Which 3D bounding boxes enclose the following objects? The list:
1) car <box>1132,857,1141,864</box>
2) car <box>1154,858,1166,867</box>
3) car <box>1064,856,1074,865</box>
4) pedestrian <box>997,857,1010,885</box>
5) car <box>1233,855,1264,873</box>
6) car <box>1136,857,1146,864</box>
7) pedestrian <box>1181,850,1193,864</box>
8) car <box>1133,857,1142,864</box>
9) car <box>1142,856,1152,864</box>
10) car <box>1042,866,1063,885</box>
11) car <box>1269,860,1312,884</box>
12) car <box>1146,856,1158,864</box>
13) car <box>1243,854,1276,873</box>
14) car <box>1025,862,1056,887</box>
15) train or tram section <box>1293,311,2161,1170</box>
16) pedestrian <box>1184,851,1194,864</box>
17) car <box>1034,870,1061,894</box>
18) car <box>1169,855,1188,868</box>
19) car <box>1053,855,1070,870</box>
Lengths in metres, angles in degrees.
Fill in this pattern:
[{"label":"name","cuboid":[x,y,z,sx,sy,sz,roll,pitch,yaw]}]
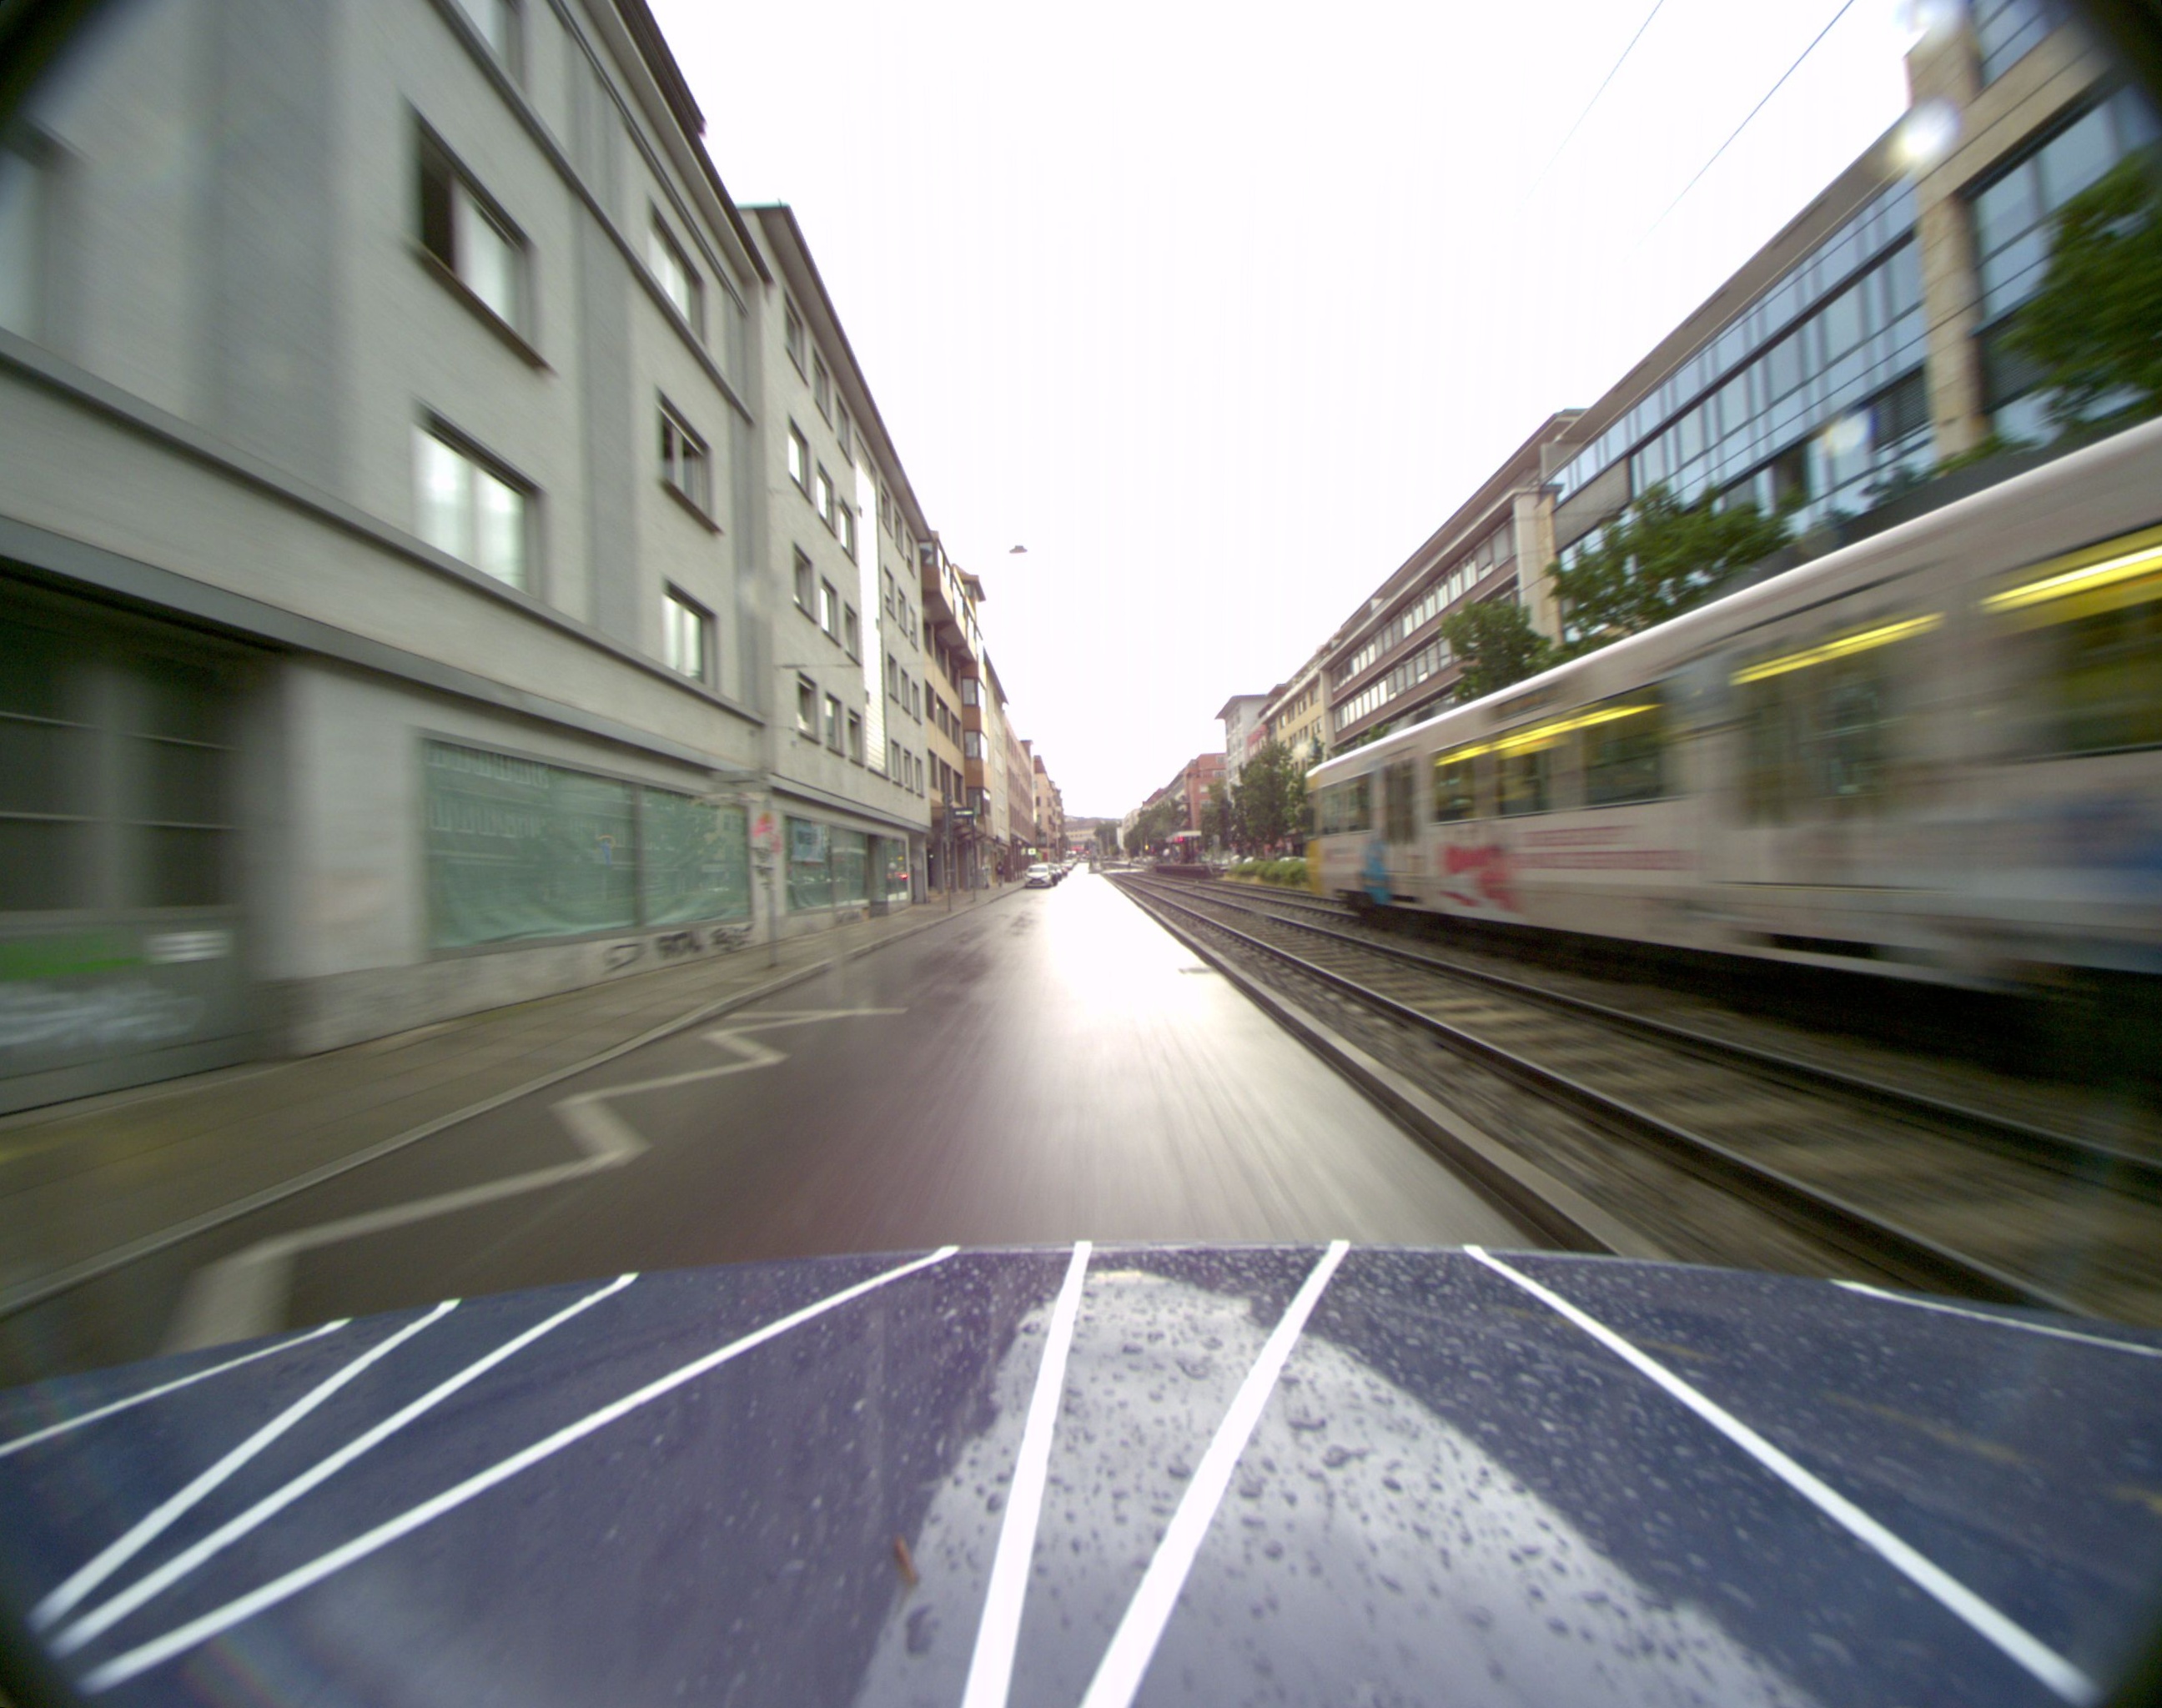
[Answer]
[{"label":"car","cuboid":[14.971,1.843,204.175,1.999,1.778,4.000,-2,0,-1]},{"label":"car","cuboid":[15.773,1.643,151.971,1.999,1.652,4.000,-2,-1,-1]},{"label":"car","cuboid":[-2.149,1.255,139.525,1.653,1.583,4.068,-2,-1,1]},{"label":"pedestrian","cuboid":[-4.839,1.051,47.362,0.640,1.690,0.883,-2,0,1]},{"label":"car","cuboid":[16.118,0.930,73.291,1.999,1.652,4.000,-2,0,-1]},{"label":"car","cuboid":[14.701,1.607,187.161,1.999,1.778,4.164,-2,0,-1]},{"label":"pedestrian","cuboid":[10.207,0.301,73.144,0.958,1.377,0.638,-2,0,-2]},{"label":"car","cuboid":[14.361,1.662,192.323,1.999,1.778,4.000,-2,0,-1]},{"label":"car","cuboid":[14.990,1.314,173.182,1.999,1.652,4.000,-2,0,-1]},{"label":"car","cuboid":[-2.521,1.908,68.773,1.653,1.583,4.068,-2,-1,1]},{"label":"car","cuboid":[15.499,1.314,56.303,1.999,1.652,4.000,-2,0,-1]},{"label":"car","cuboid":[15.294,1.217,163.858,1.999,1.652,4.000,-2,0,-1]},{"label":"car","cuboid":[15.958,0.855,68.163,1.999,1.652,4.000,-2,0,-1]},{"label":"car","cuboid":[-2.599,1.299,49.552,1.653,1.489,4.068,-2,-1,1]},{"label":"train or tram section","cuboid":[6.570,-0.538,9.220,2.909,4.026,18.412,-2,0,0]},{"label":"pedestrian","cuboid":[10.300,0.323,72.496,0.815,1.248,0.638,-2,0,-2]},{"label":"car","cuboid":[-2.350,1.980,54.369,1.653,1.583,4.068,-2,-1,1]},{"label":"car","cuboid":[13.147,1.017,102.372,1.999,1.652,4.000,-2,0,-1]},{"label":"car","cuboid":[-2.066,0.902,82.930,1.653,1.583,4.068,-2,-1,1]}]
